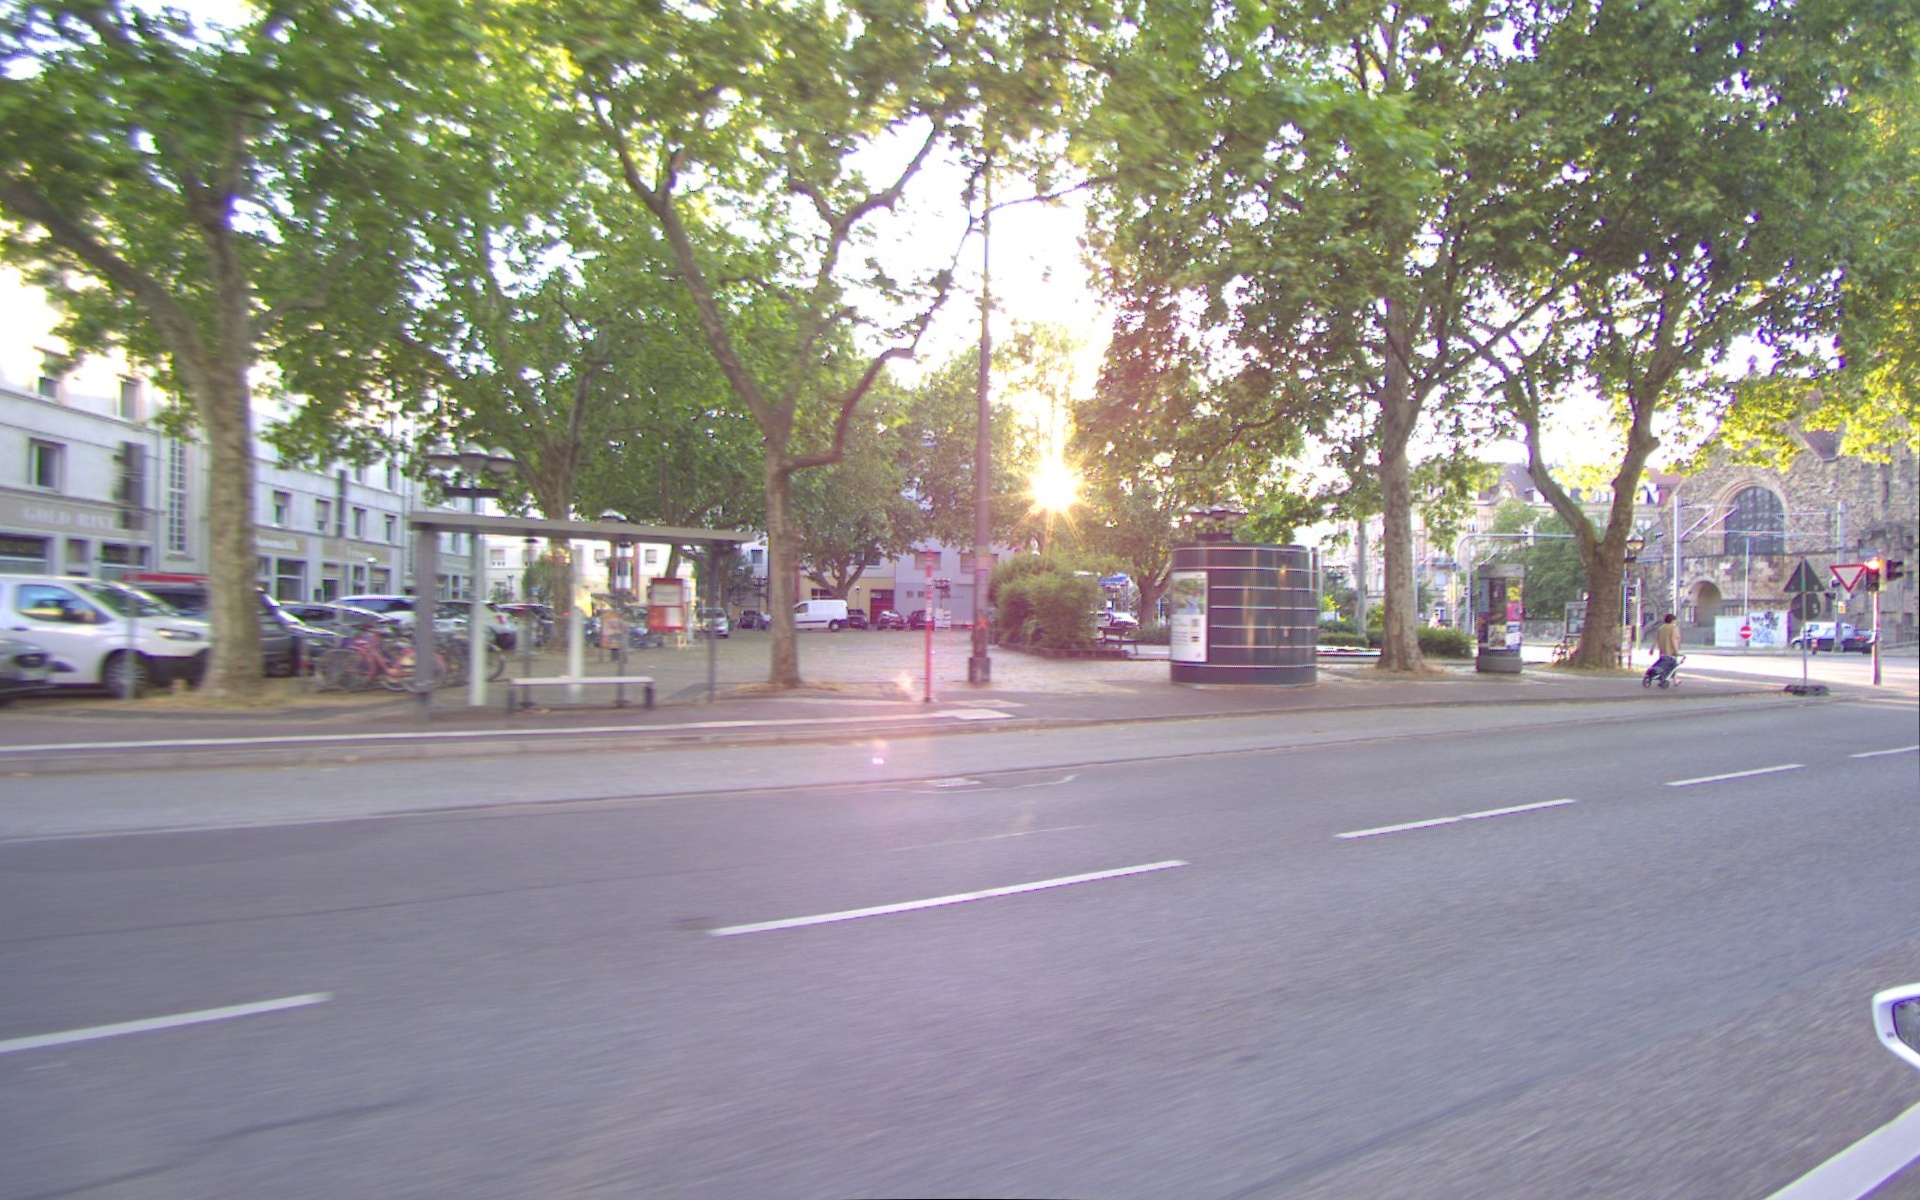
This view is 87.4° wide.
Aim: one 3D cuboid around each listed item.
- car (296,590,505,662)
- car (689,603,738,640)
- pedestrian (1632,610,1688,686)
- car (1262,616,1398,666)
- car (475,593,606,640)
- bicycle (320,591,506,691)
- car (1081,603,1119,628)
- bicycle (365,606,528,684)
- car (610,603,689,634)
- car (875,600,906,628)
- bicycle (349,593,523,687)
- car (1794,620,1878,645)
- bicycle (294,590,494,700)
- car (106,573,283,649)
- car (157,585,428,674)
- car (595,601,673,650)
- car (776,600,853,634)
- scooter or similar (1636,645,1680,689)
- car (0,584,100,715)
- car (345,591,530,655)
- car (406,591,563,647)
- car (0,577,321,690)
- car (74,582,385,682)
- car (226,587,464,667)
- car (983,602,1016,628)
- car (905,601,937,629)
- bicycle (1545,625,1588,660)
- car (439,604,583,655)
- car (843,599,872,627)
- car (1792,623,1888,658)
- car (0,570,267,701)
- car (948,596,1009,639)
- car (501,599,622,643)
[{"bbox_3d":[-15.146,0.695,27.446,4.557,1.805,1.997,-1,-1,-10],"label":"car"},{"bbox_3d":[-11.805,1.012,48.306,1.642,1.684,3.760,2,0,-4],"label":"car"},{"bbox_3d":[15.913,1.078,22.835,0.766,1.649,0.796,2,0,-35],"label":"pedestrian"},{"bbox_3d":[14.466,1.598,39.439,4.552,1.805,1.999,-1,-1,-5],"label":"car"},{"bbox_3d":[-17.123,0.680,41.238,4.557,1.805,2.090,-1,-1,-10],"label":"car"},{"bbox_3d":[-9.458,0.702,17.466,2.693,1.636,0.809,2,0,-5],"label":"bicycle"},{"bbox_3d":[10.842,1.188,78.032,1.882,1.873,3.995,2,0,-7],"label":"car"},{"bbox_3d":[-9.881,0.854,19.394,2.693,1.402,0.691,2,0,-5],"label":"bicycle"},{"bbox_3d":[-19.192,1.153,62.022,4.578,1.834,1.992,-1,-1,-20],"label":"car"},{"bbox_3d":[-5.309,1.041,76.254,1.963,2.040,3.994,2,0,-8],"label":"car"},{"bbox_3d":[-9.632,0.730,18.540,2.693,1.636,0.809,2,0,-5],"label":"bicycle"},{"bbox_3d":[58.957,2.163,67.614,4.372,1.537,1.718,2,0,-6],"label":"car"},{"bbox_3d":[-8.981,0.709,16.025,2.693,1.636,0.691,2,0,-5],"label":"bicycle"},{"bbox_3d":[-27.504,0.428,36.247,4.555,2.474,1.998,3,-2,-7],"label":"car"},{"bbox_3d":[-14.631,0.640,22.276,4.557,1.805,1.997,-1,-1,-10],"label":"car"},{"bbox_3d":[-11.241,0.876,34.824,1.642,1.549,3.760,2,-1,-4],"label":"car"},{"bbox_3d":[-8.866,1.037,61.164,4.557,1.964,1.997,-1,-1,-10],"label":"car"},{"bbox_3d":[15.382,1.469,22.129,0.845,0.910,0.586,2,0,-40],"label":"scooter or similar"},{"bbox_3d":[-13.600,0.626,12.025,4.564,1.523,1.994,-1,-1,-16],"label":"car"},{"bbox_3d":[-15.703,0.698,30.416,4.557,1.805,1.997,-1,-1,-10],"label":"car"},{"bbox_3d":[-16.473,0.662,35.015,4.557,1.805,1.997,-1,-1,-10],"label":"car"},{"bbox_3d":[-14.150,0.567,17.567,4.557,1.805,1.997,-1,-1,-10],"label":"car"},{"bbox_3d":[-14.293,0.619,19.941,4.557,1.805,1.997,-1,-1,-10],"label":"car"},{"bbox_3d":[-14.948,0.659,24.678,4.557,1.805,1.997,-1,-1,-10],"label":"car"},{"bbox_3d":[2.982,1.101,77.032,1.882,1.873,3.995,2,0,-7],"label":"car"},{"bbox_3d":[-2.996,1.114,76.788,1.963,2.040,3.994,2,0,-8],"label":"car"},{"bbox_3d":[19.921,1.408,32.976,1.779,1.107,0.455,2,0,-33],"label":"bicycle"},{"bbox_3d":[-16.733,1.103,37.665,4.557,1.758,1.997,-1,-1,-10],"label":"car"},{"bbox_3d":[-7.757,0.965,75.846,1.963,2.040,3.994,2,0,-8],"label":"car"},{"bbox_3d":[48.385,2.201,55.345,1.960,1.706,4.002,2,0,4],"label":"car"},{"bbox_3d":[-13.461,0.536,15.118,4.557,1.805,1.997,-1,-1,-10],"label":"car"},{"bbox_3d":[0.782,0.821,45.567,1.964,1.805,4.494,-1,-2,-9],"label":"car"},{"bbox_3d":[-17.312,0.906,43.826,4.557,1.805,1.997,-1,-1,-10],"label":"car"}]
